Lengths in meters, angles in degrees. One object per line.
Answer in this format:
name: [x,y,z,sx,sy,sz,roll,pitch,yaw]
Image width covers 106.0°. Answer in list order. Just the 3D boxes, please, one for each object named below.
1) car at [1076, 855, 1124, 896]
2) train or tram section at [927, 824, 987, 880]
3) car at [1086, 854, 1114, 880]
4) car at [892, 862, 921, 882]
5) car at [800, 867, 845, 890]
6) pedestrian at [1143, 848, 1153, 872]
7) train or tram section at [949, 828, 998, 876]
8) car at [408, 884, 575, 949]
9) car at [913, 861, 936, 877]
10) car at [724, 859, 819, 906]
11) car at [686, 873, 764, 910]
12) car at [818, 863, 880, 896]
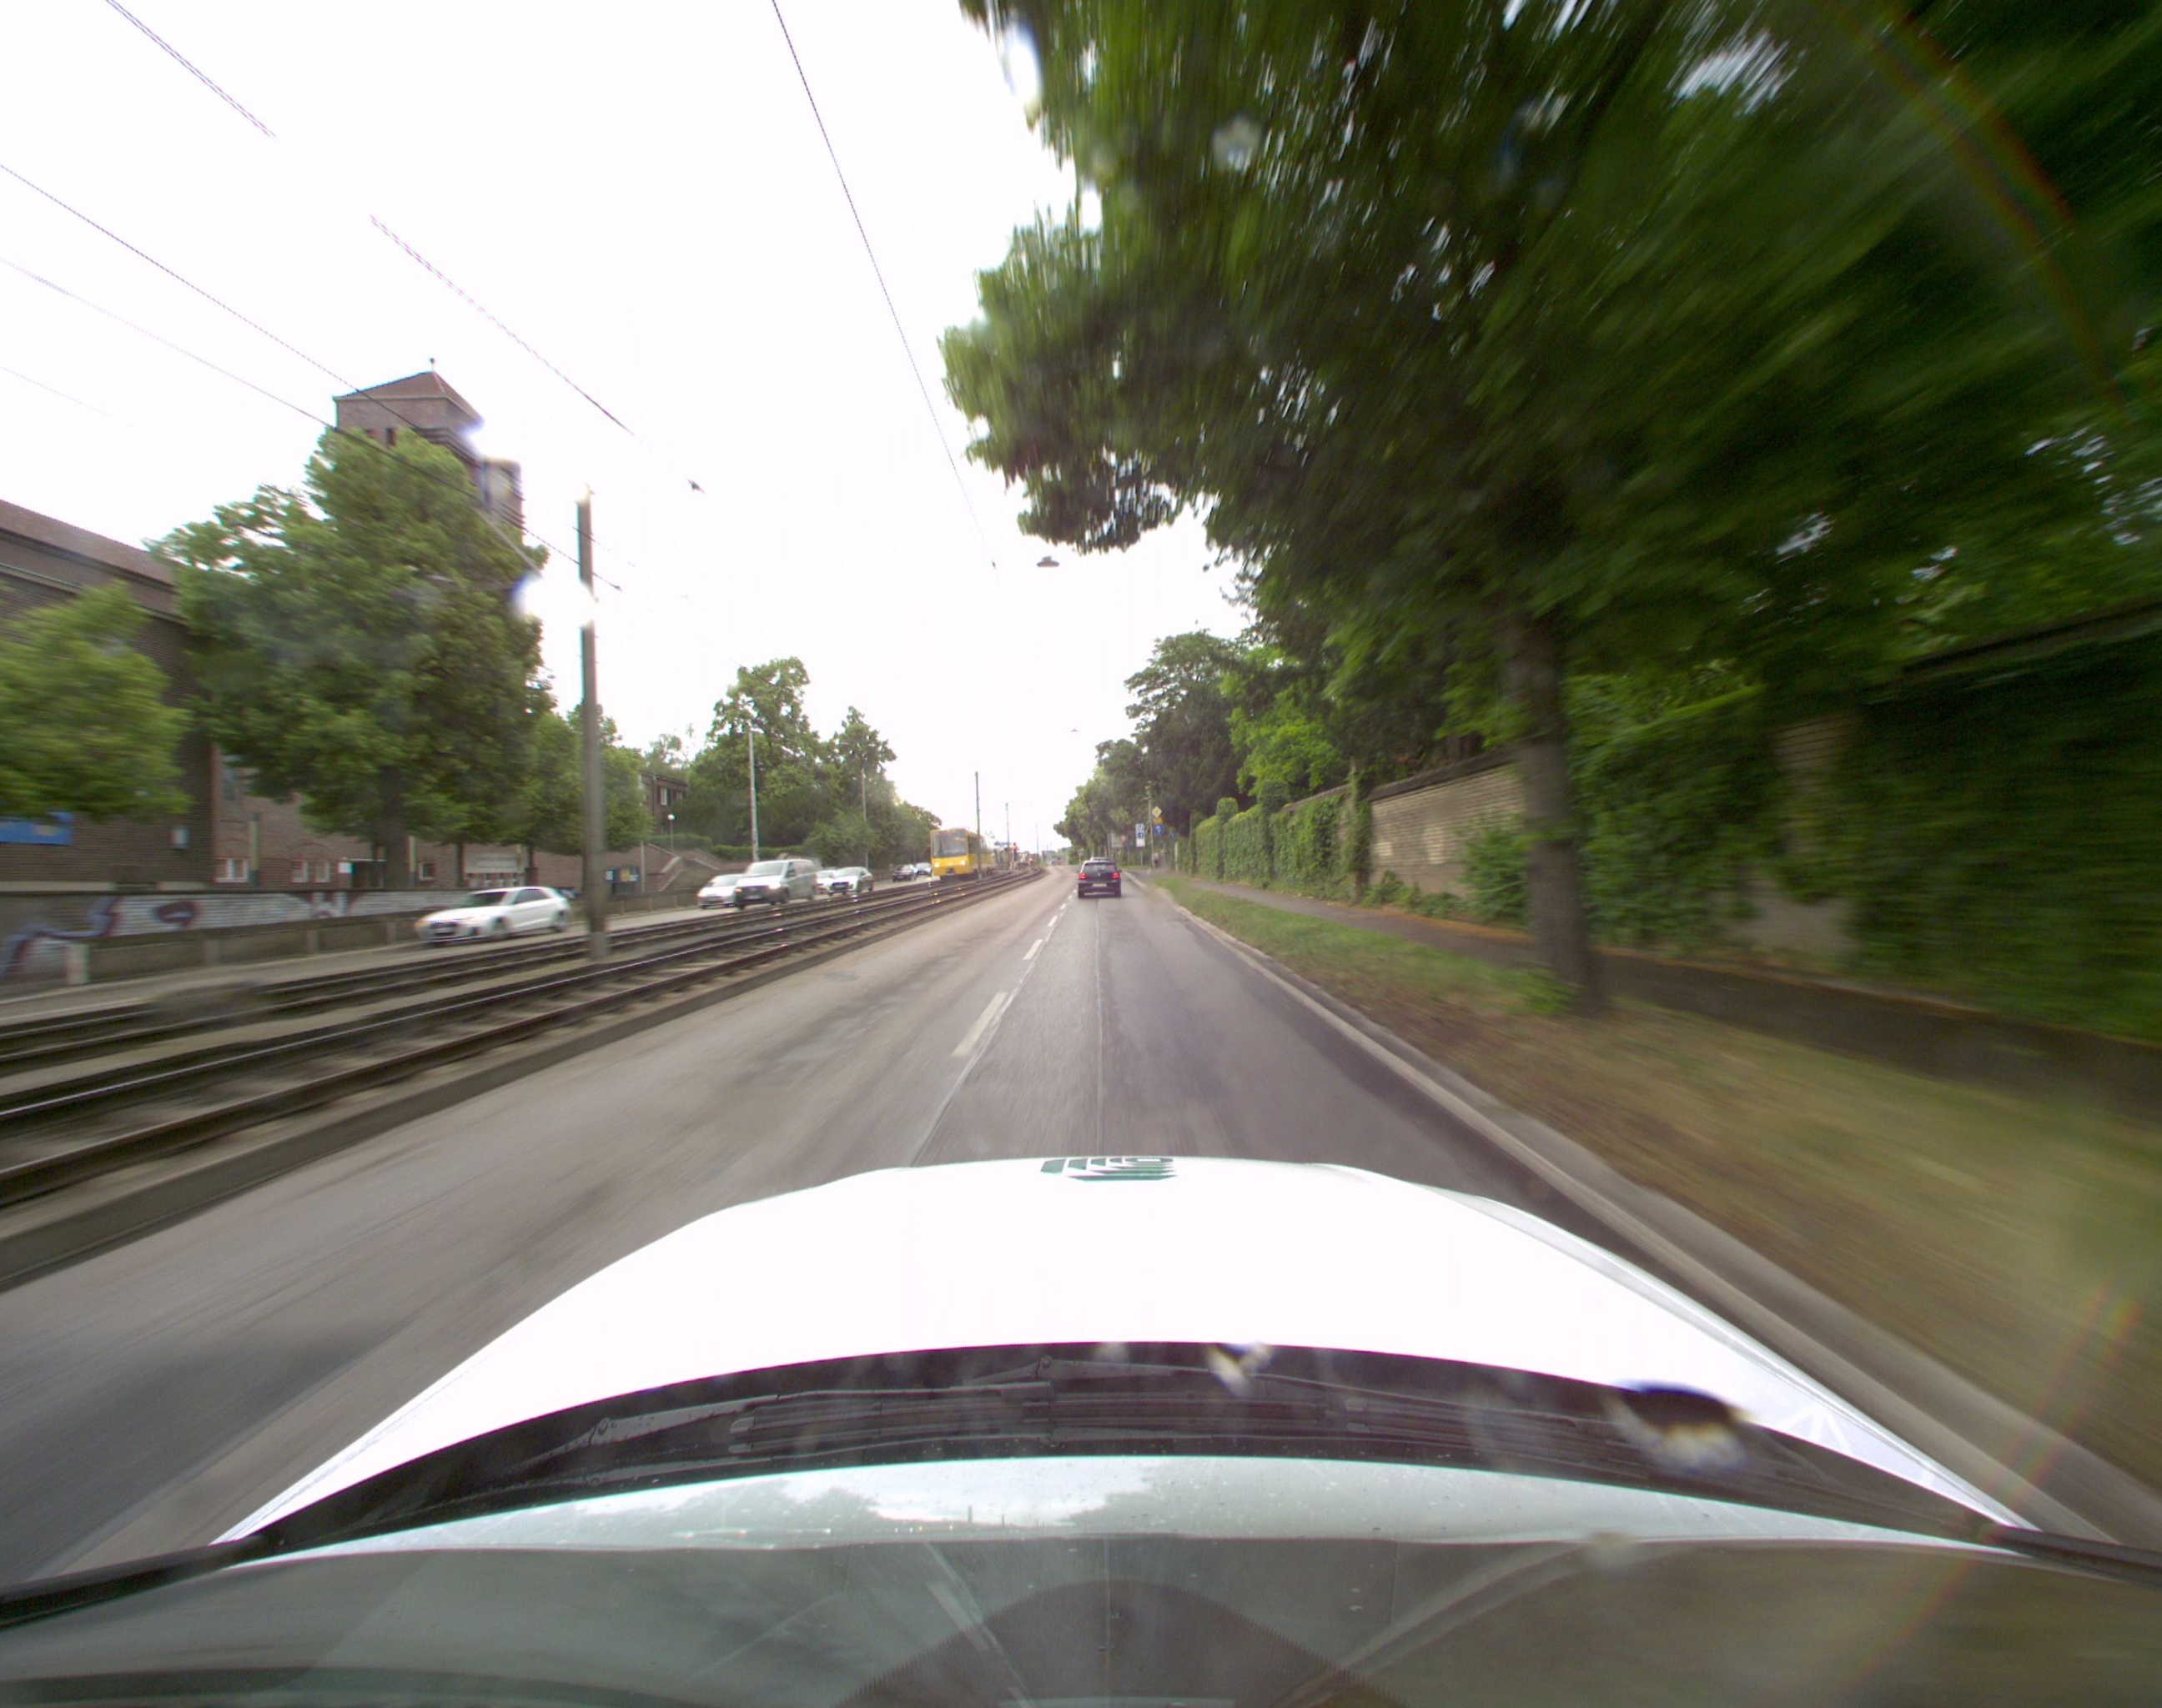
car: [0.693,0.809,32.409,1.788,1.485,3.964,-1,0,0]
train or tram section: [-8.614,-0.146,57.674,2.824,3.605,9.267,-1,0,-1]
car: [1.210,0.795,52.222,1.670,1.531,3.723,-2,0,2]
car: [-15.756,1.596,73.580,1.728,1.662,4.000,-1,0,0]
car: [-15.912,1.482,50.273,1.553,1.338,3.648,-1,-1,0]
pedestrian: [8.196,0.712,99.907,1.160,2.977,0.948,-1,0,0]
train or tram section: [-8.692,-0.156,66.925,2.824,3.605,9.267,-1,0,-1]
car: [-15.929,1.627,22.282,1.611,1.434,4.000,-1,0,0]
car: [-17.806,1.705,92.740,1.787,1.662,4.000,-1,0,0]
car: [-12.368,1.072,32.931,1.988,1.662,5.123,-1,0,-2]
car: [-15.850,1.646,36.482,1.722,1.443,4.000,-1,0,0]
car: [-12.333,1.307,43.617,1.987,1.576,4.535,-1,0,0]
